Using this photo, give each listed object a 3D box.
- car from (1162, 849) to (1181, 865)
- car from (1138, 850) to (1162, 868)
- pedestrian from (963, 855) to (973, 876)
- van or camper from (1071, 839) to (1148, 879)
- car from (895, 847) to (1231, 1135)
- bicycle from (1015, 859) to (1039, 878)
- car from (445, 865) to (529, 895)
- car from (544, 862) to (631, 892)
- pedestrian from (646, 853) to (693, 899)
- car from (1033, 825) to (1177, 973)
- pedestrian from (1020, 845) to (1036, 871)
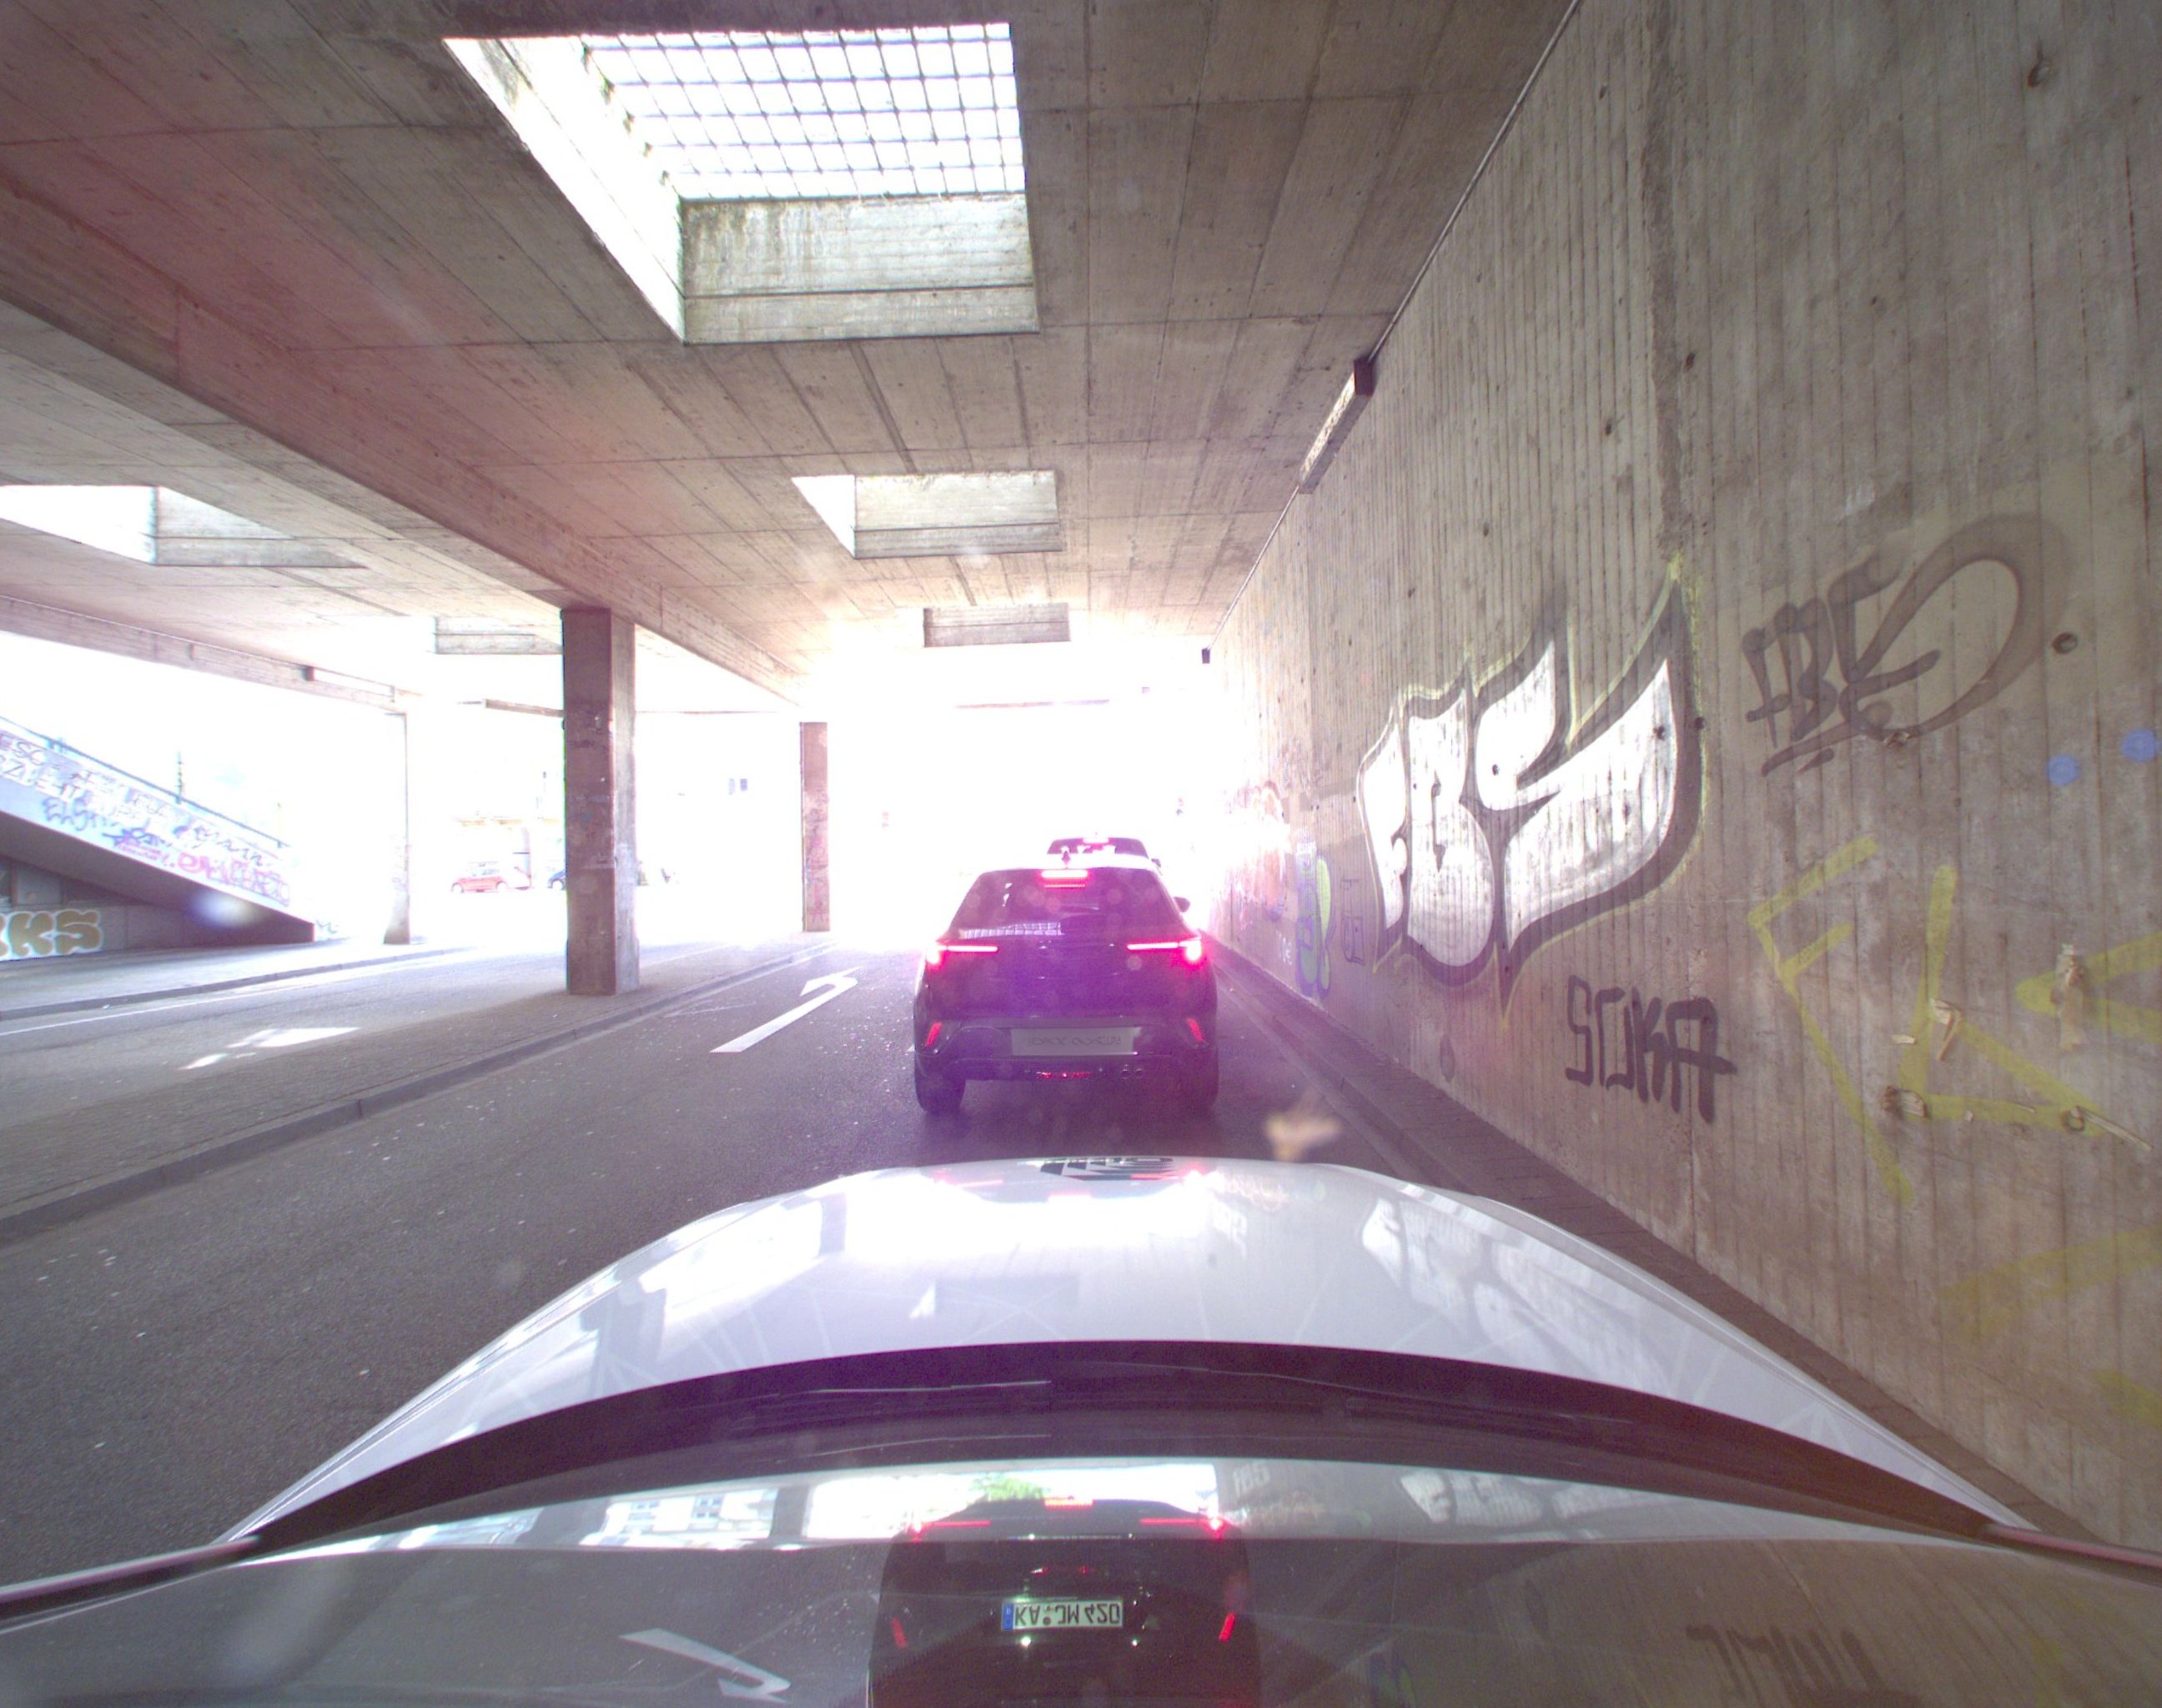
[{"bbox_3d":[9.438,0.277,84.612,1.573,1.640,3.819,-1,0,12],"label":"car"},{"bbox_3d":[6.072,0.435,71.395,1.588,1.452,3.807,-1,0,11],"label":"car"},{"bbox_3d":[-9.236,0.899,66.422,0.619,1.705,0.725,0,-1,9],"label":"pedestrian"},{"bbox_3d":[1.581,0.275,43.729,3.854,2.013,2.005,-1,0,9],"label":"van or camper"},{"bbox_3d":[-0.020,0.713,6.251,1.746,1.498,4.002,0,0,2],"label":"car"},{"bbox_3d":[-3.402,0.894,51.565,0.730,1.130,2.036,-2,0,19],"label":"bicycle"},{"bbox_3d":[-32.878,1.433,45.120,3.519,1.506,1.563,-1,0,2],"label":"car"},{"bbox_3d":[-27.379,1.283,45.272,3.742,1.508,1.752,-2,0,0],"label":"car"},{"bbox_3d":[-15.889,0.843,31.461,1.103,1.737,1.146,-1,0,15],"label":"pedestrian"},{"bbox_3d":[0.365,0.562,12.159,1.779,1.833,3.962,-1,0,2],"label":"car"},{"bbox_3d":[-3.386,0.259,51.652,0.729,1.585,0.894,0,-1,18],"label":"pedestrian"}]
